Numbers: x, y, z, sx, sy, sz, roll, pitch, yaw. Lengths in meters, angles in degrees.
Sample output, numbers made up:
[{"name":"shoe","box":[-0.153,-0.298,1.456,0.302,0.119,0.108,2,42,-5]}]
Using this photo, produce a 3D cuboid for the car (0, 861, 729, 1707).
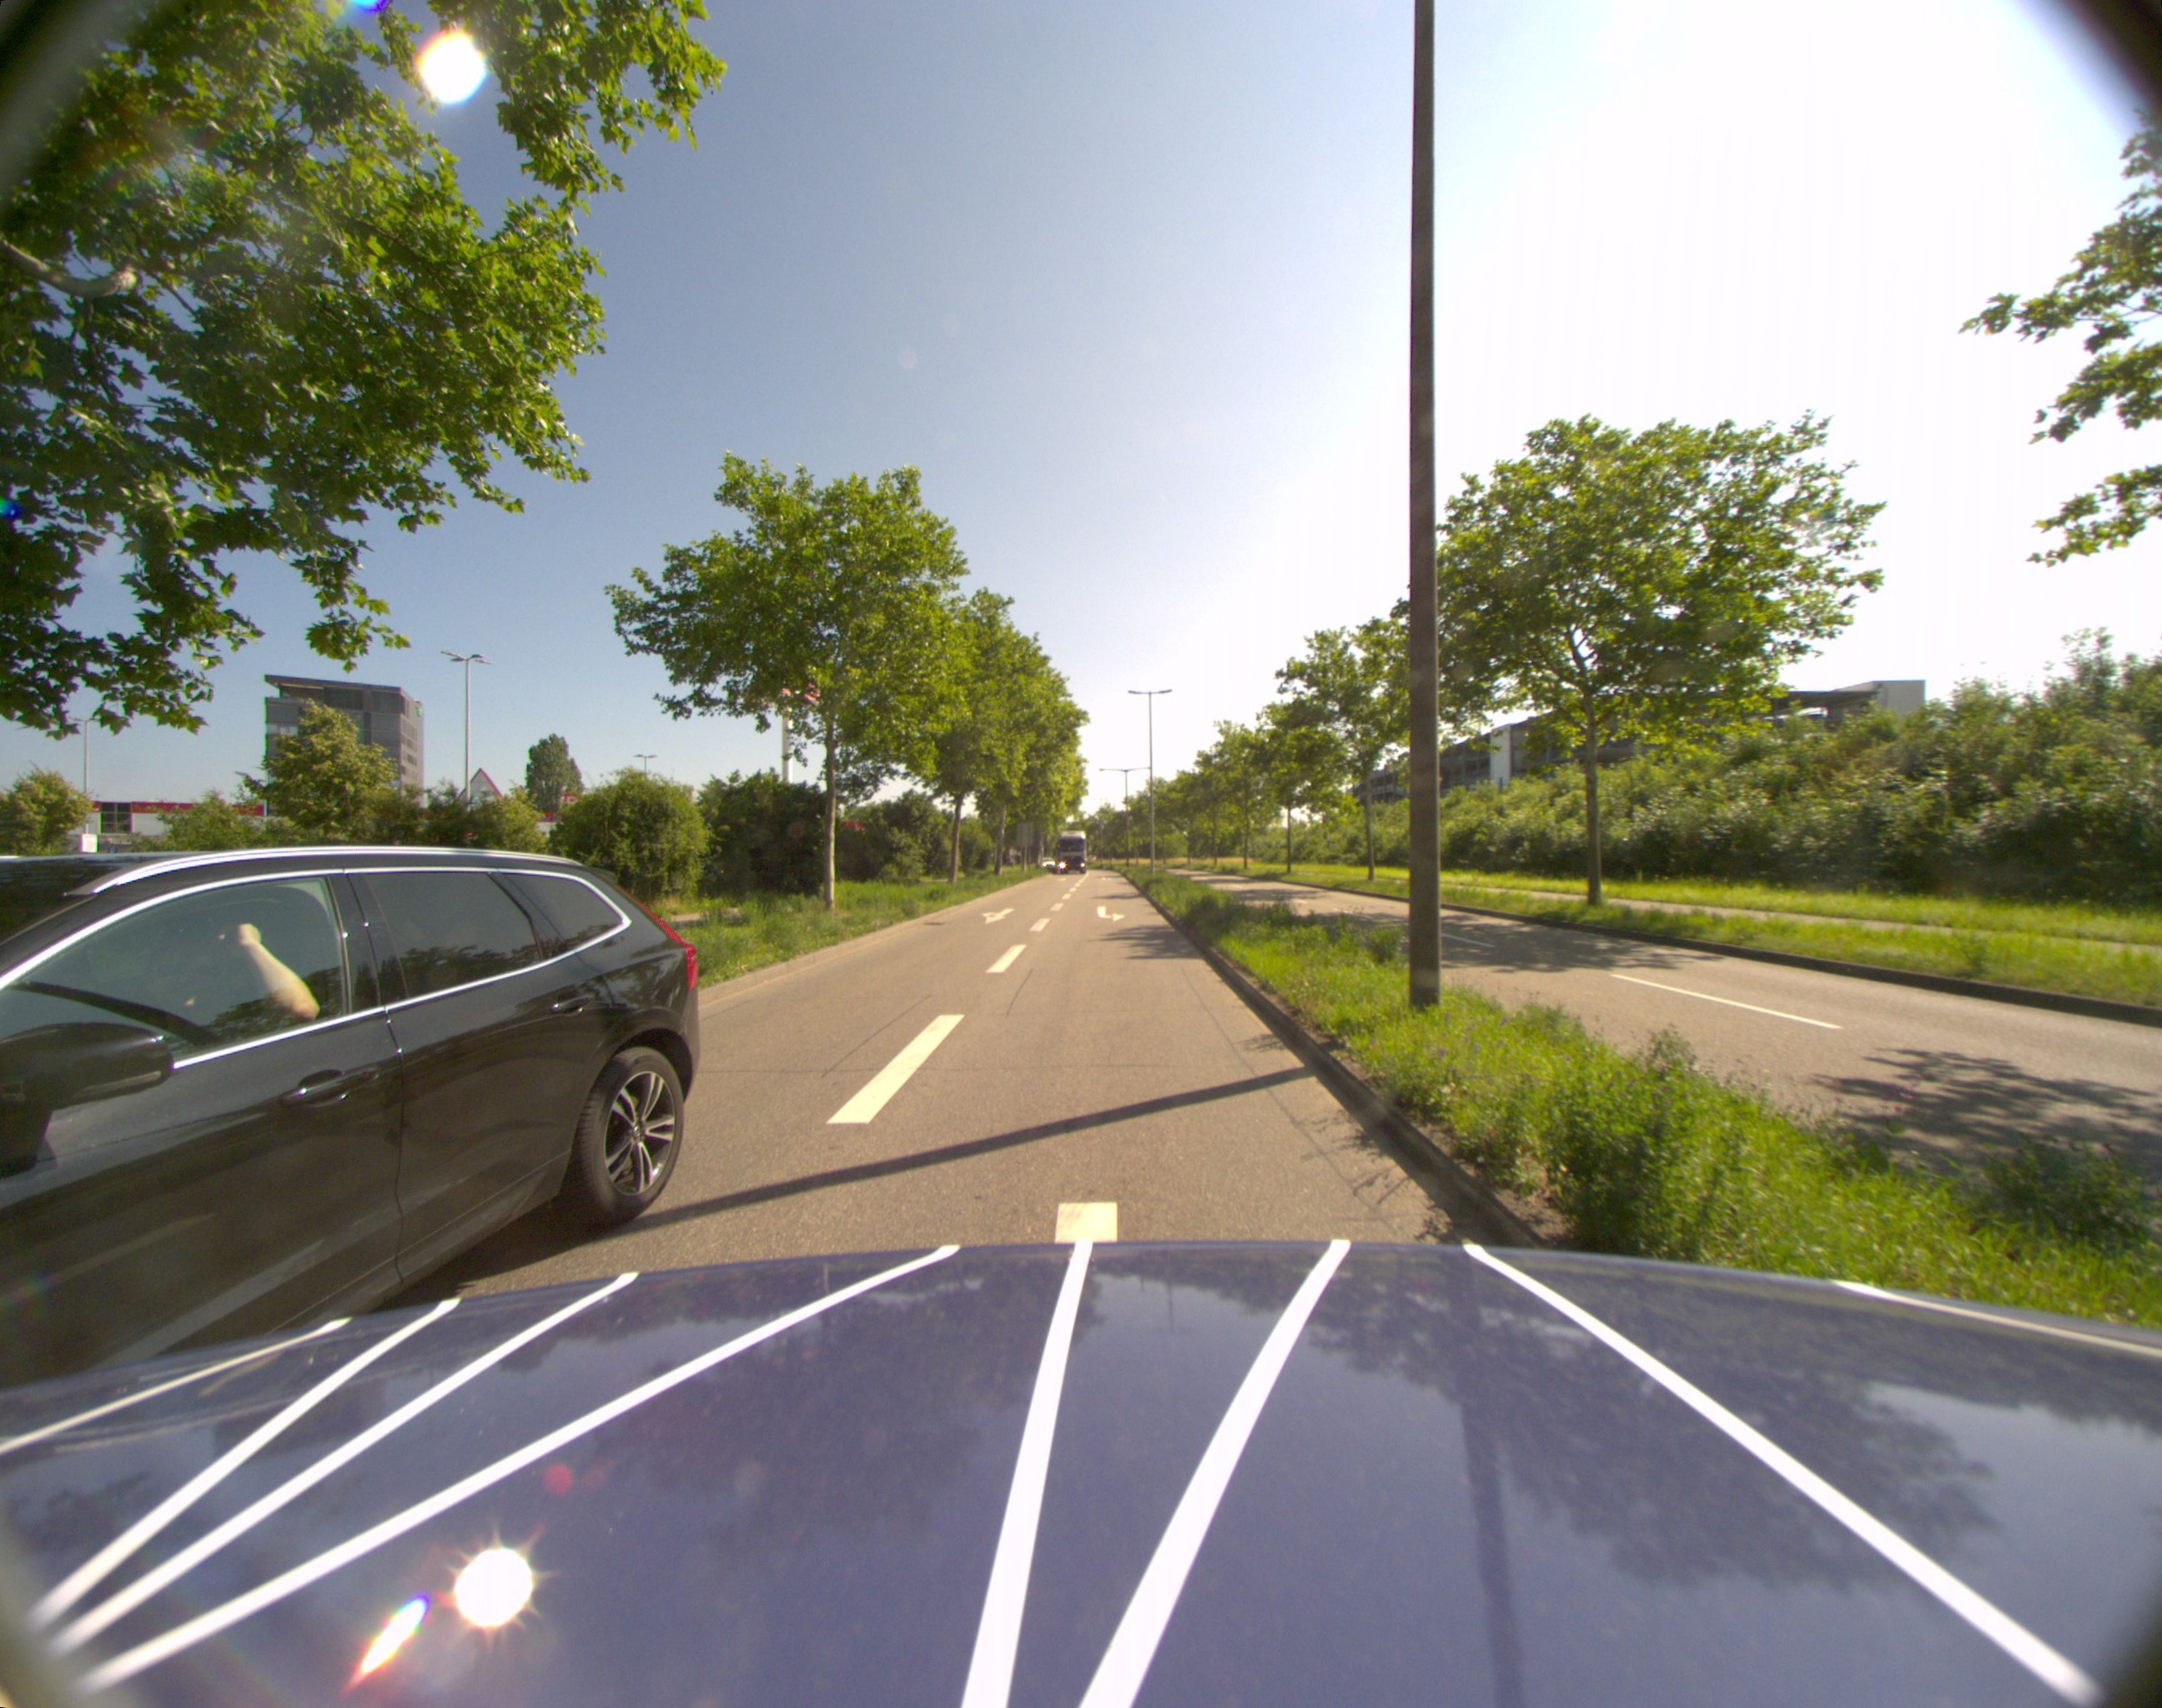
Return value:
[{"name":"car","box":[-2.902,0.890,1.795,1.924,1.613,4.564,-2,1,1]}]

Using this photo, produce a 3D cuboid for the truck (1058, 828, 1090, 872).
[{"name":"truck","box":[-0.617,-0.358,71.654,2.741,3.872,5.851,-2,1,0]}]
